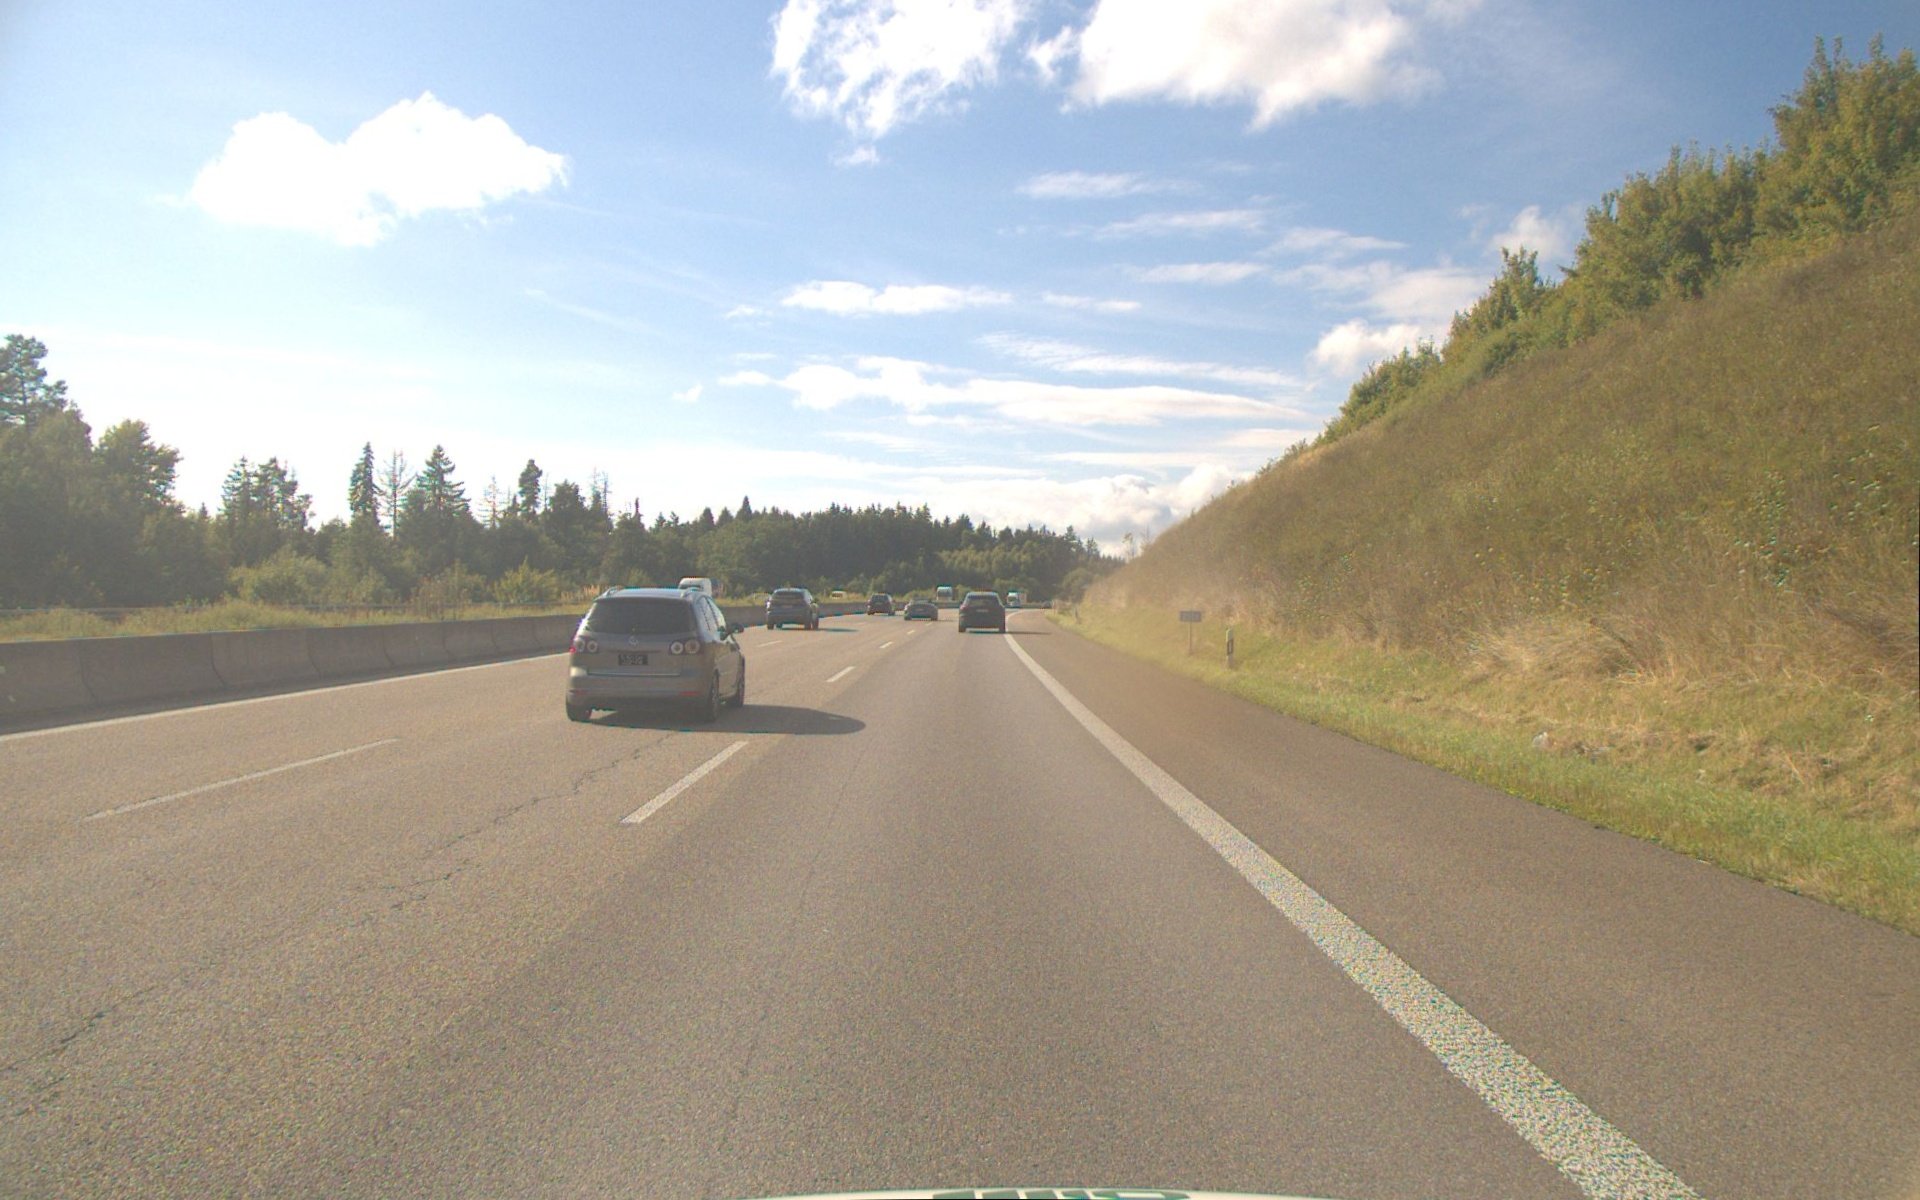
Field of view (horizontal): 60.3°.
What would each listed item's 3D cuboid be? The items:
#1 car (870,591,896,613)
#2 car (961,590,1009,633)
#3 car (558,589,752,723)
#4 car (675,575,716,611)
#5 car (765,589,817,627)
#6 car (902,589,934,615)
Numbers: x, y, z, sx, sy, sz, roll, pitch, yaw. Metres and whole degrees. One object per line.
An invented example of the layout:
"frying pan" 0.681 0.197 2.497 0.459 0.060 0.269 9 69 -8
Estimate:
"car" -5.494 0.118 118.451 1.836 1.523 3.878 0 0 -2
"car" 0.977 0.458 67.697 1.835 1.704 3.889 0 0 -1
"car" -3.734 0.634 20.850 1.836 1.523 3.878 0 0 -2
"car" -20.565 -0.532 128.696 2.223 2.730 5.888 0 0 0
"car" -6.990 0.301 68.708 1.836 1.523 3.878 0 0 -2
"car" -2.457 0.108 97.097 1.835 1.523 3.879 0 0 -1
